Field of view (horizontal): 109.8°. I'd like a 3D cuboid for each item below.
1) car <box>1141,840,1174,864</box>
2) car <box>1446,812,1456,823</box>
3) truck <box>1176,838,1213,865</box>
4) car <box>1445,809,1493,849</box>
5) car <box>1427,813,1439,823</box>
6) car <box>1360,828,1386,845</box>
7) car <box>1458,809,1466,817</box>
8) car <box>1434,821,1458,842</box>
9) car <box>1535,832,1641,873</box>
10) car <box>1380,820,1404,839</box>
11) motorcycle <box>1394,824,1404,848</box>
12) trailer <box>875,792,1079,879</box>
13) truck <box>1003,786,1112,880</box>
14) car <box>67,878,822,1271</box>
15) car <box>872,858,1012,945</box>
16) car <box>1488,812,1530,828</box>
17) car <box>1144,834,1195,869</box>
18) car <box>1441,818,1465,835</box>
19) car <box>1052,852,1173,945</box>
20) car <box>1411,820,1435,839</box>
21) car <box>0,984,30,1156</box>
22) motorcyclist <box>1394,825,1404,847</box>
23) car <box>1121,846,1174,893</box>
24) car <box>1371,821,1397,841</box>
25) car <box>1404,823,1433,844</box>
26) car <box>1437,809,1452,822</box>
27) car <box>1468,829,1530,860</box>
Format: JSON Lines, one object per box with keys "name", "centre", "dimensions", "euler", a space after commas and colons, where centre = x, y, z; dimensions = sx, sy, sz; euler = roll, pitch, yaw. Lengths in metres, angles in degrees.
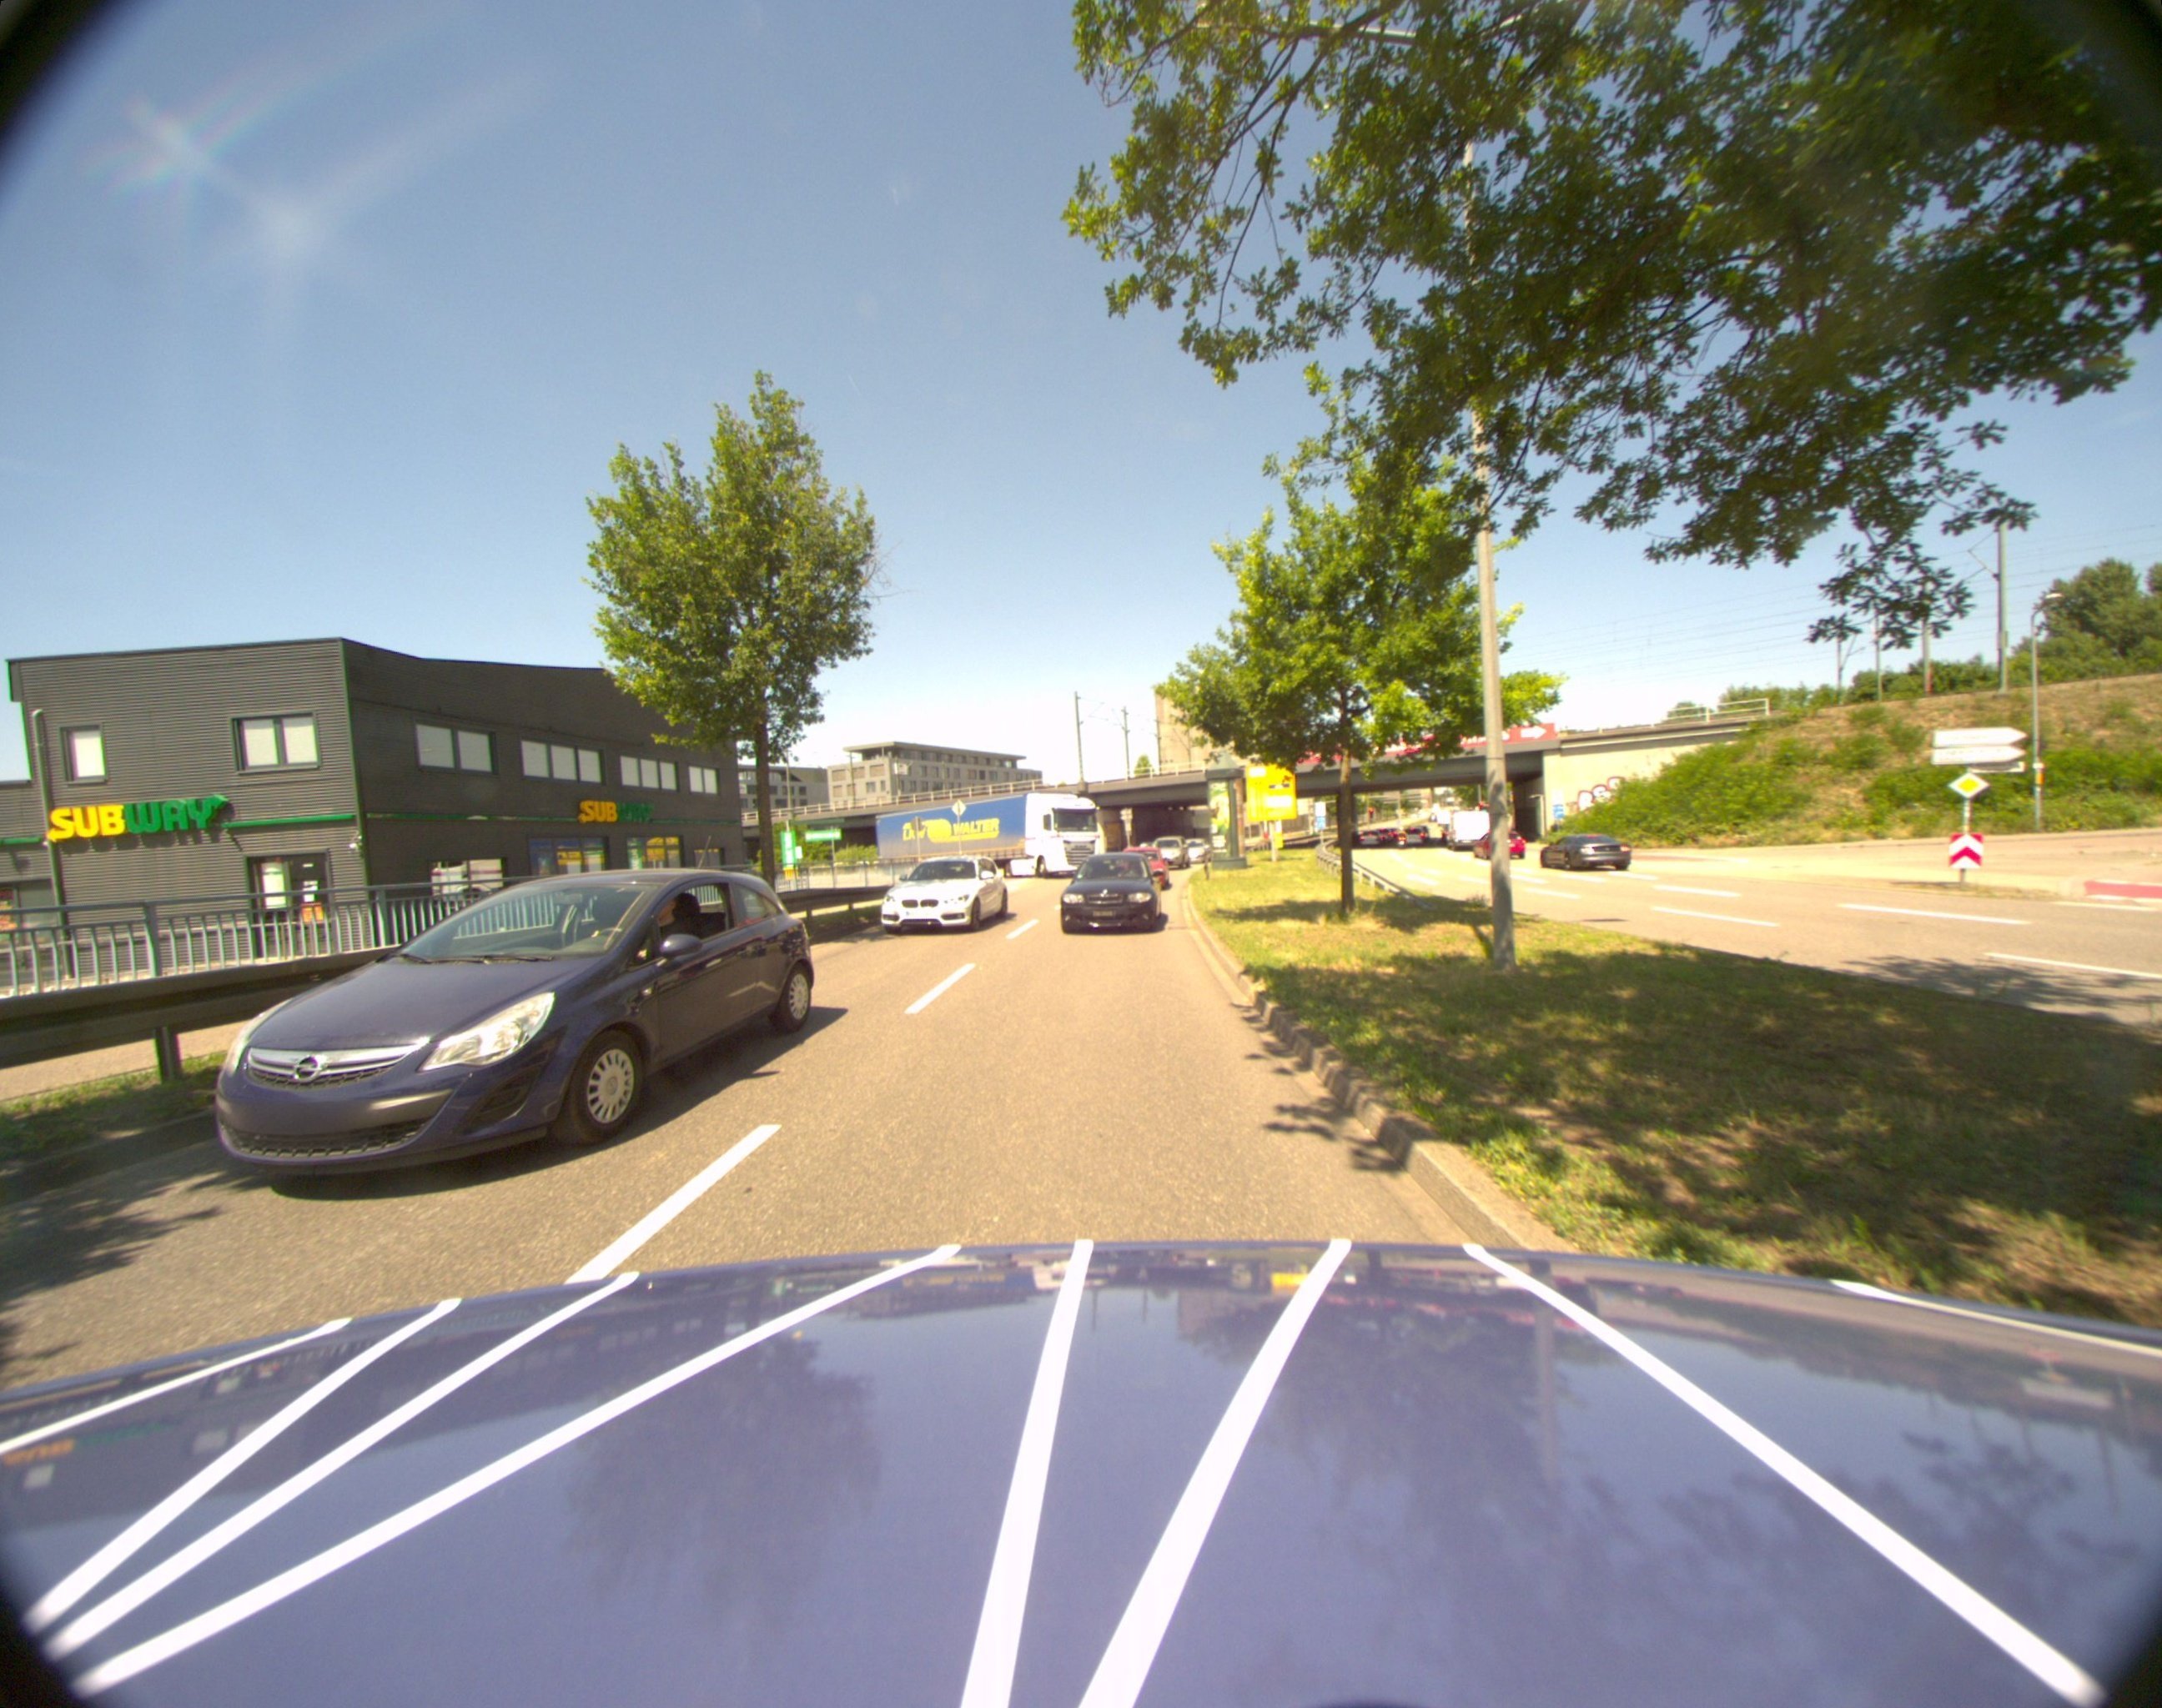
{"name": "car", "centre": [5.099, -0.166, 50.114], "dimensions": [1.715, 1.434, 4.002], "euler": [-2, 2, 12]}
{"name": "car", "centre": [73.854, -7.260, 151.505], "dimensions": [1.703, 2.002, 4.006], "euler": [-1, 2, 27]}
{"name": "truck", "centre": [7.151, -0.212, 47.553], "dimensions": [1.729, 1.493, 4.003], "euler": [-2, 2, 16]}
{"name": "car", "centre": [25.885, -1.610, 50.879], "dimensions": [2.096, 2.486, 5.817], "euler": [-1, 0, 20]}
{"name": "car", "centre": [75.585, -7.661, 163.205], "dimensions": [1.995, 2.002, 4.006], "euler": [-1, 2, 27]}
{"name": "car", "centre": [24.463, -1.480, 63.627], "dimensions": [1.635, 1.395, 4.228], "euler": [0, 2, 26]}
{"name": "car", "centre": [106.563, -11.391, 212.650], "dimensions": [1.836, 2.002, 4.006], "euler": [-1, 2, 26]}
{"name": "car", "centre": [31.945, -1.962, 66.428], "dimensions": [1.773, 1.658, 4.021], "euler": [-2, 1, 27]}
{"name": "car", "centre": [19.088, -0.116, 28.855], "dimensions": [1.812, 1.326, 4.572], "euler": [-2, 2, 13]}
{"name": "car", "centre": [33.248, -2.601, 81.120], "dimensions": [1.903, 1.849, 4.006], "euler": [-1, 2, 29]}
{"name": "motorcycle", "centre": [23.635, -1.352, 56.487], "dimensions": [0.598, 1.669, 2.428], "euler": [-2, 2, 22]}
{"name": "trailer", "centre": [-6.213, -0.775, 41.710], "dimensions": [13.867, 4.067, 2.504], "euler": [-2, 2, 42]}
{"name": "truck", "centre": [-1.237, -0.989, 36.411], "dimensions": [2.580, 4.079, 5.747], "euler": [-4, 2, -31]}
{"name": "car", "centre": [-3.339, 0.998, 5.129], "dimensions": [1.650, 1.436, 3.891], "euler": [-2, 1, 2]}
{"name": "car", "centre": [-2.686, 0.861, 15.630], "dimensions": [1.762, 1.435, 4.053], "euler": [0, 2, 6]}
{"name": "car", "centre": [54.394, -4.344, 96.535], "dimensions": [1.875, 1.849, 4.310], "euler": [-3, 2, -27]}
{"name": "car", "centre": [4.742, -0.159, 40.150], "dimensions": [1.843, 1.686, 3.703], "euler": [-2, 2, 20]}
{"name": "car", "centre": [34.952, -2.586, 71.334], "dimensions": [1.571, 1.494, 3.412], "euler": [-1, 2, 33]}
{"name": "car", "centre": [0.761, 0.761, 14.836], "dimensions": [1.680, 1.409, 4.058], "euler": [-2, 2, 11]}
{"name": "car", "centre": [35.775, -2.570, 79.380], "dimensions": [1.903, 1.849, 4.006], "euler": [-1, 2, 29]}
{"name": "car", "centre": [-10.670, 2.048, 5.088], "dimensions": [1.636, 1.523, 3.899], "euler": [-2, 2, 3]}
{"name": "motorcyclist", "centre": [23.567, -1.321, 56.293], "dimensions": [0.587, 1.617, 0.563], "euler": [-2, 2, 22]}
{"name": "car", "centre": [2.283, 0.477, 25.976], "dimensions": [1.646, 1.391, 4.053], "euler": [0, 2, 5]}
{"name": "car", "centre": [30.396, -2.306, 76.117], "dimensions": [1.903, 1.849, 4.006], "euler": [-1, 2, 29]}
{"name": "car", "centre": [26.995, -1.621, 60.751], "dimensions": [1.635, 1.558, 4.079], "euler": [-1, 1, 30]}
{"name": "car", "centre": [63.984, -6.818, 133.764], "dimensions": [1.995, 2.091, 6.393], "euler": [-1, 2, 28]}
{"name": "car", "centre": [21.708, -0.551, 39.620], "dimensions": [1.833, 1.429, 4.529], "euler": [-2, 2, 16]}
